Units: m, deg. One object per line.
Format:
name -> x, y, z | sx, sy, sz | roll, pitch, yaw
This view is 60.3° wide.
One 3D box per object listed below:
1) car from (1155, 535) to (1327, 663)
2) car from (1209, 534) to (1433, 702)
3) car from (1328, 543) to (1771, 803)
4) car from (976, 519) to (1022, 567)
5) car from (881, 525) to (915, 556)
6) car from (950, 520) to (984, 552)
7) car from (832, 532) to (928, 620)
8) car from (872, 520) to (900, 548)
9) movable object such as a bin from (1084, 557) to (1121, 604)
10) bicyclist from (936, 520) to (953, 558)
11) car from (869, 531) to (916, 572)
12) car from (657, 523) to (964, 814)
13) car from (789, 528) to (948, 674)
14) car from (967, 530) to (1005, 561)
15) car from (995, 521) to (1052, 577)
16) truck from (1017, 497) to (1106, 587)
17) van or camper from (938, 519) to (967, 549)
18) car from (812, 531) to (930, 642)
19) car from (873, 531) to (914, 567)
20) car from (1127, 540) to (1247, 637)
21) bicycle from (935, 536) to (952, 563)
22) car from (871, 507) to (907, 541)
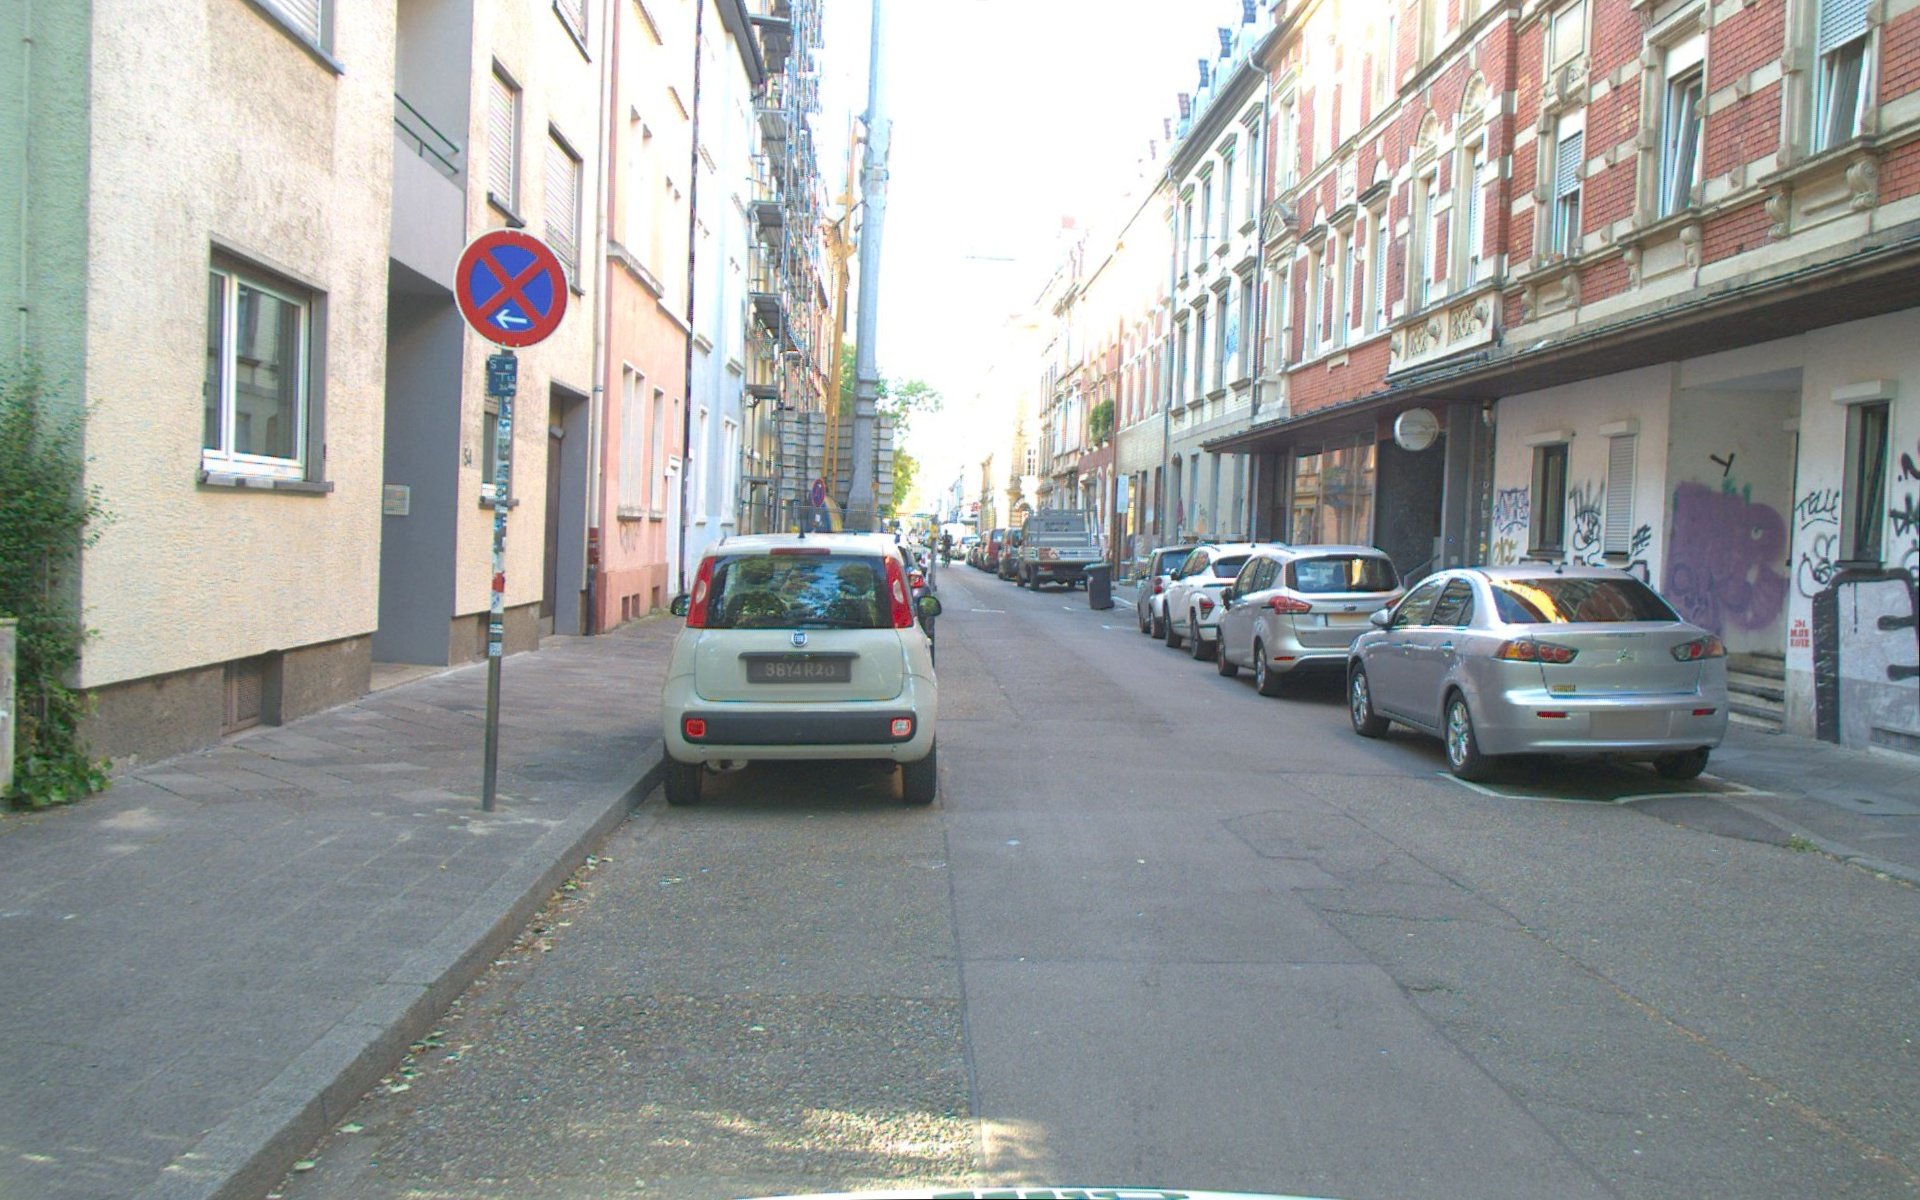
car -> 4.095, -0.096, 24.725 | 1.711, 1.704, 4.340 | 1, 2, -1
car -> 4.029, 0.115, 19.068 | 1.607, 1.684, 3.869 | 2, 2, -1
car -> 4.329, 0.403, 12.962 | 1.687, 1.589, 4.398 | 2, 2, -2
car -> 1.727, -2.572, 74.817 | 1.642, 2.066, 3.867 | 1, 2, -4
car -> -3.314, -3.165, 87.945 | 1.642, 1.598, 3.867 | 1, 2, -4
car -> 0.459, -4.389, 112.676 | 1.954, 2.048, 3.999 | 2, 2, -4
car -> -1.501, -0.506, 31.359 | 1.641, 1.502, 4.607 | 1, 2, -2
car -> -5.213, -4.620, 116.091 | 1.954, 1.880, 3.998 | 1, 2, -3
movable object such as a bin -> 3.400, -0.471, 39.593 | 0.779, 1.074, 0.660 | 2, 2, -2
bicyclist -> -0.763, -2.940, 79.601 | 0.715, 1.791, 0.835 | 2, 3, -2
car -> -2.644, -1.883, 63.802 | 1.642, 1.470, 3.867 | 1, 2, -4
car -> -0.951, 0.304, 10.891 | 1.642, 1.566, 3.867 | 1, 2, -4
car -> -1.145, -0.071, 19.986 | 1.695, 1.566, 4.375 | 0, 2, -4
car -> 1.374, -2.916, 88.301 | 1.642, 1.598, 3.867 | 1, 2, -4
car -> 2.365, -1.945, 62.362 | 1.642, 1.996, 4.106 | 1, 2, -4
truck -> 3.111, -1.833, 51.882 | 2.146, 2.652, 5.232 | 1, 2, -3
van or camper -> -0.655, -5.647, 141.246 | 1.955, 2.551, 4.198 | 1, 2, -6
car -> -1.349, -0.273, 25.637 | 1.641, 1.538, 4.413 | 1, 2, -2
car -> -2.944, -2.256, 72.605 | 1.642, 1.470, 3.867 | 1, 2, -4
car -> 4.037, -0.258, 29.921 | 1.564, 1.587, 3.814 | 1, 2, -1
bicycle -> -0.781, -2.436, 79.637 | 0.710, 1.206, 2.042 | 3, 3, -2
car -> -3.558, -3.770, 82.716 | 1.642, 1.598, 3.867 | 1, 2, -4
